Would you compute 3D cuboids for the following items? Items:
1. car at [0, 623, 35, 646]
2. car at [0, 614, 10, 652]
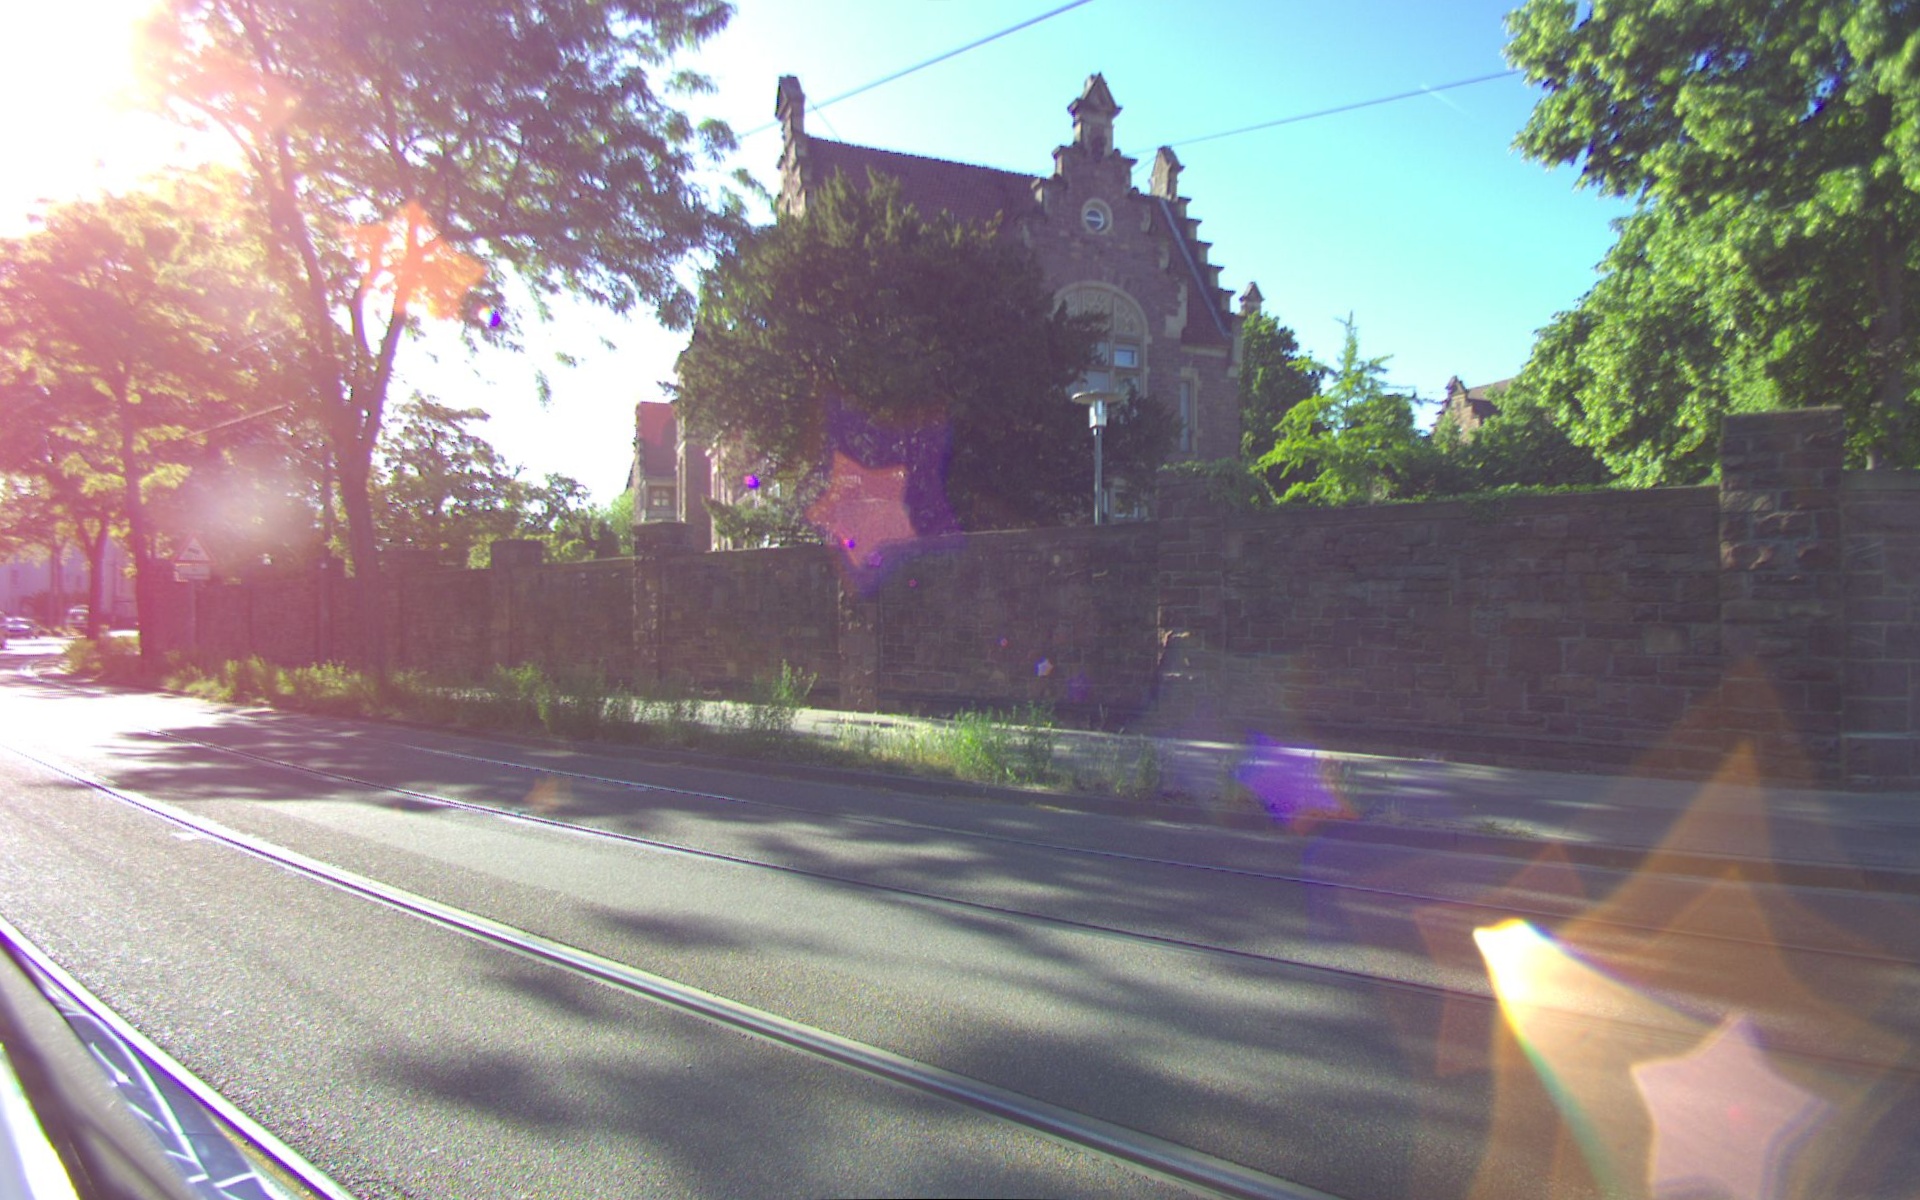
[{"bbox_3d":[-68.902,2.509,73.845,1.969,1.560,4.005,0,-1,-41],"label":"car"},{"bbox_3d":[-46.680,1.569,47.689,1.847,1.830,4.981,0,-1,-32],"label":"car"}]
